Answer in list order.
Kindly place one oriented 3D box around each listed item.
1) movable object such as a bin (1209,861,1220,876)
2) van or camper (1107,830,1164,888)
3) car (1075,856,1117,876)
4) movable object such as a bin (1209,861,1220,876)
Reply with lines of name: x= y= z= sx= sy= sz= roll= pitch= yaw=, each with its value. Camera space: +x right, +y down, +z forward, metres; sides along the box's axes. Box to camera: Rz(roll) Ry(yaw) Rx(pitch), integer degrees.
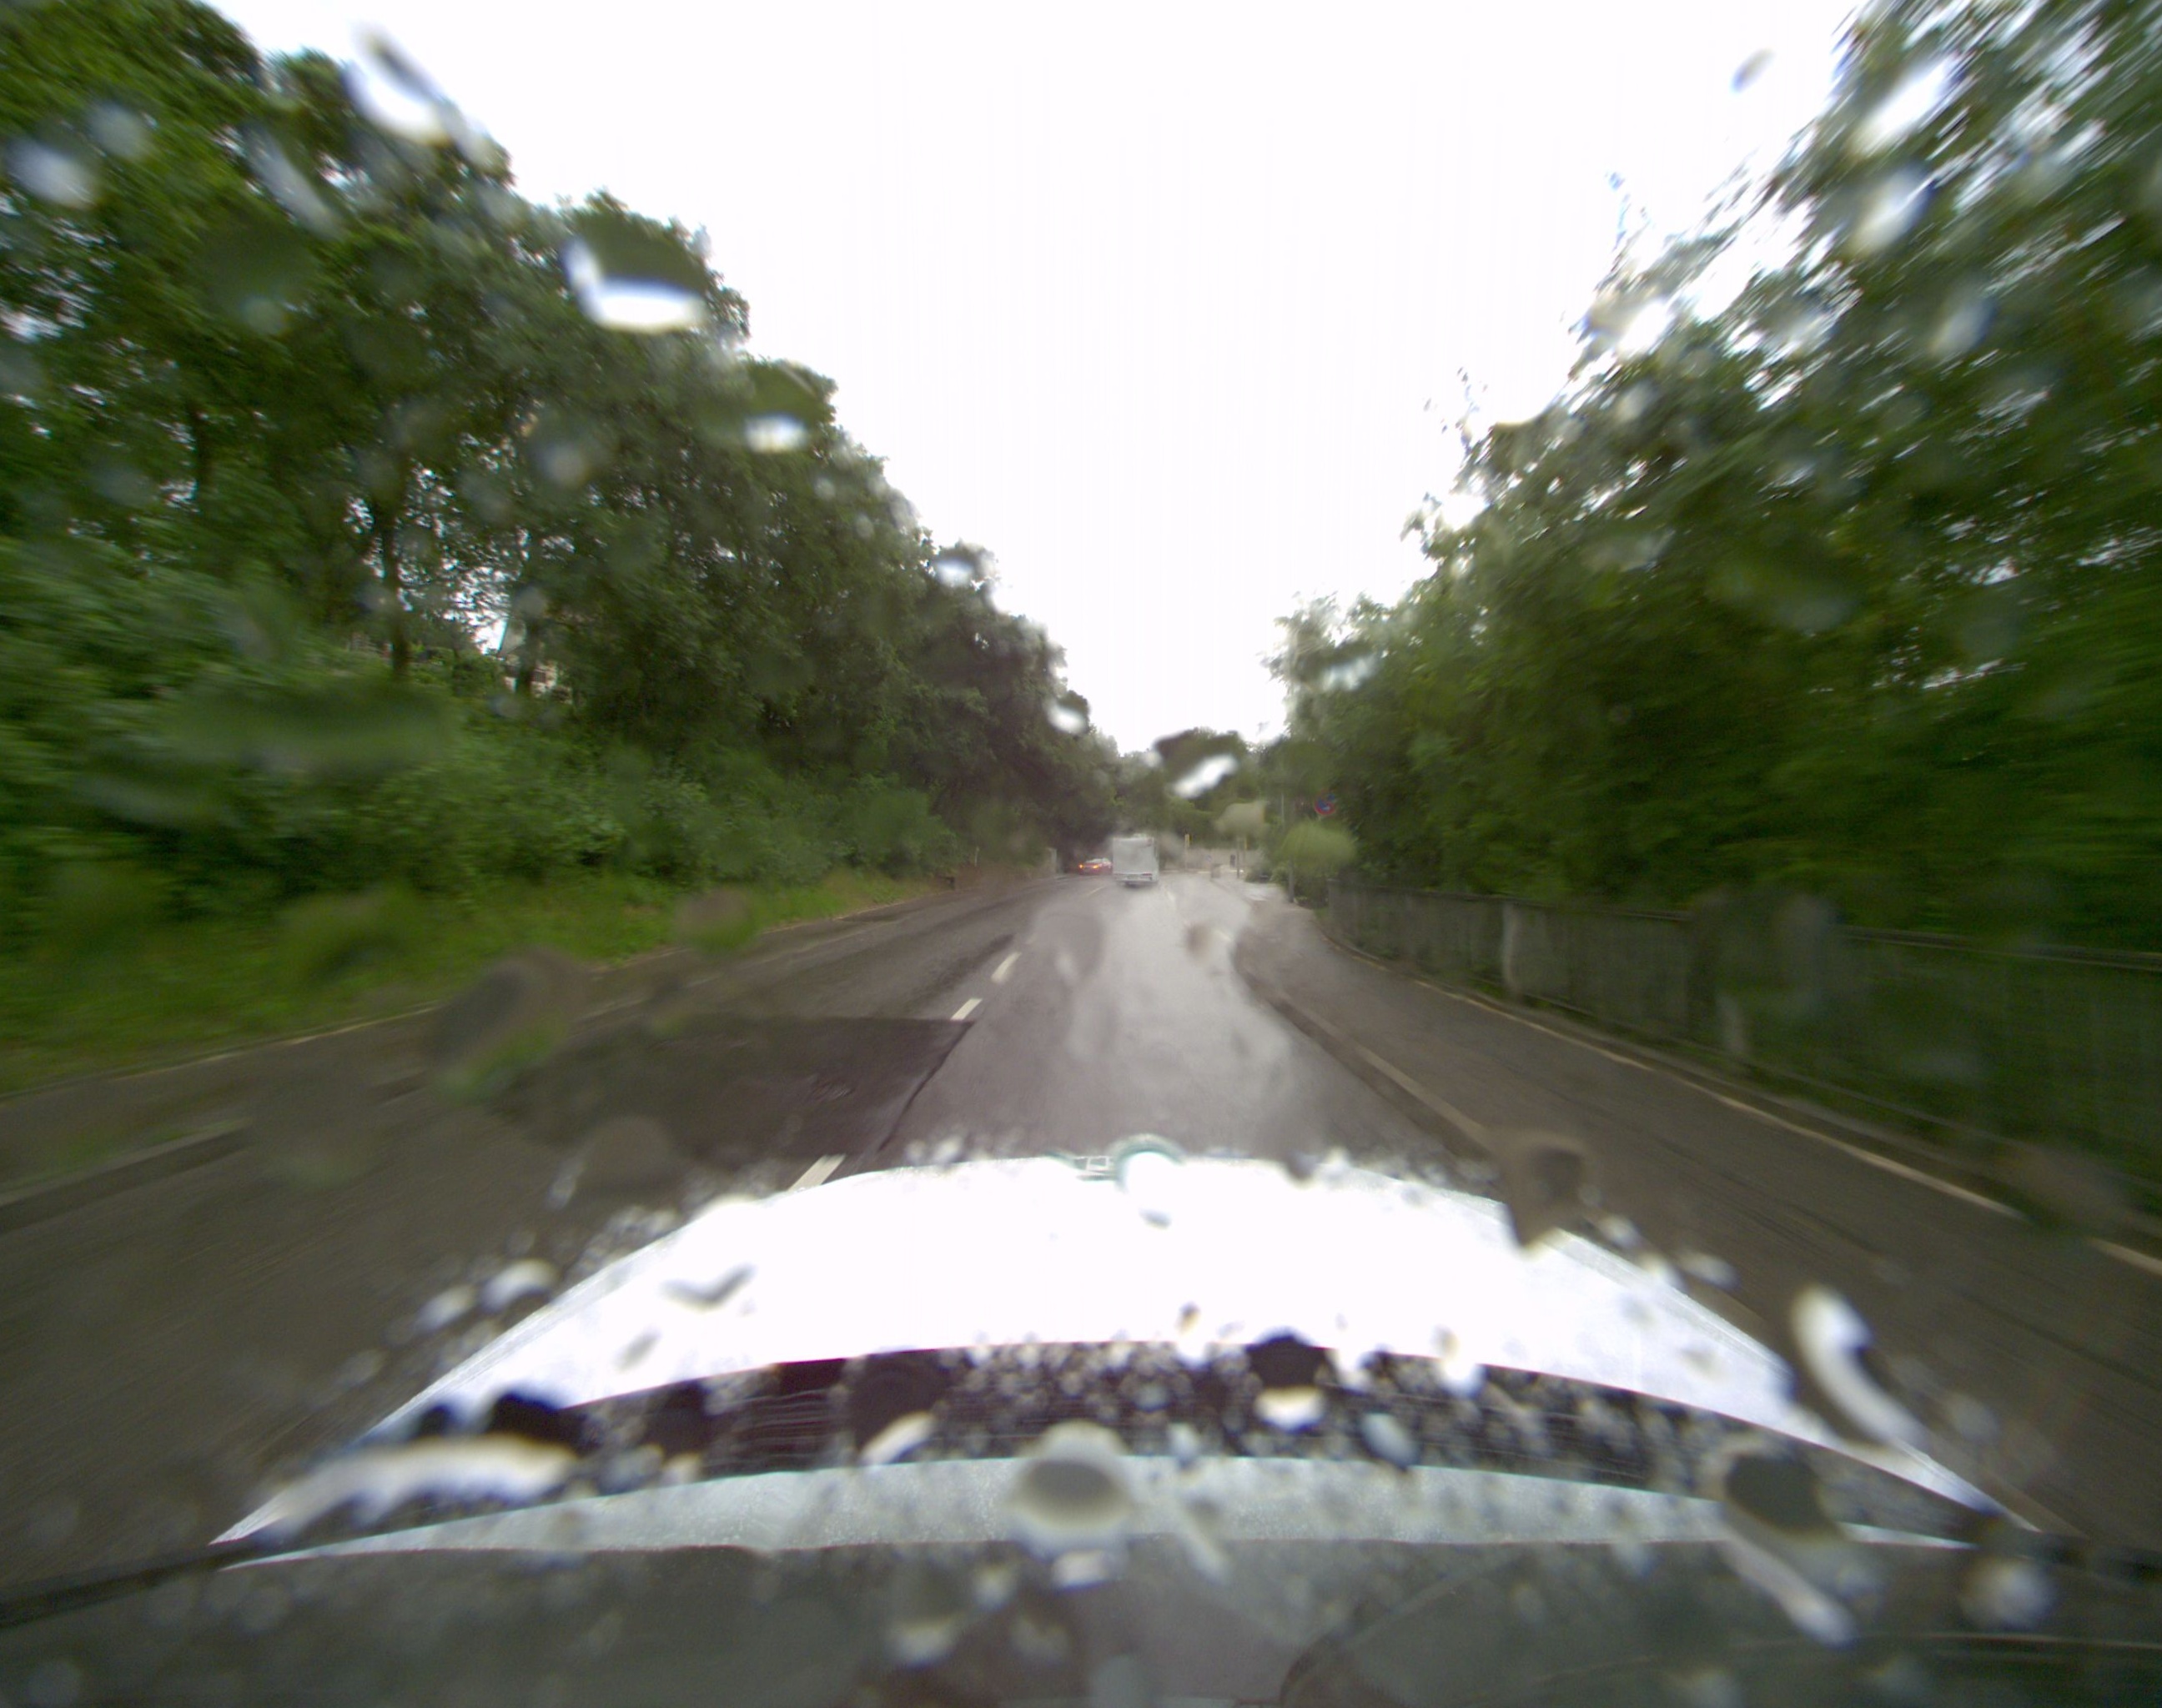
movable object such as a bin: x=9.969 y=1.092 z=60.673 sx=0.772 sy=1.133 sz=0.740 roll=0 pitch=0 yaw=11
van or camper: x=3.178 y=0.298 z=46.111 sx=2.525 sy=2.925 sz=5.962 roll=-4 pitch=-1 yaw=9
car: x=1.327 y=0.977 z=68.259 sx=1.976 sy=1.561 sz=4.677 roll=1 pitch=0 yaw=21
movable object such as a bin: x=9.727 y=1.060 z=59.494 sx=0.772 sy=1.133 sz=0.740 roll=0 pitch=0 yaw=11
